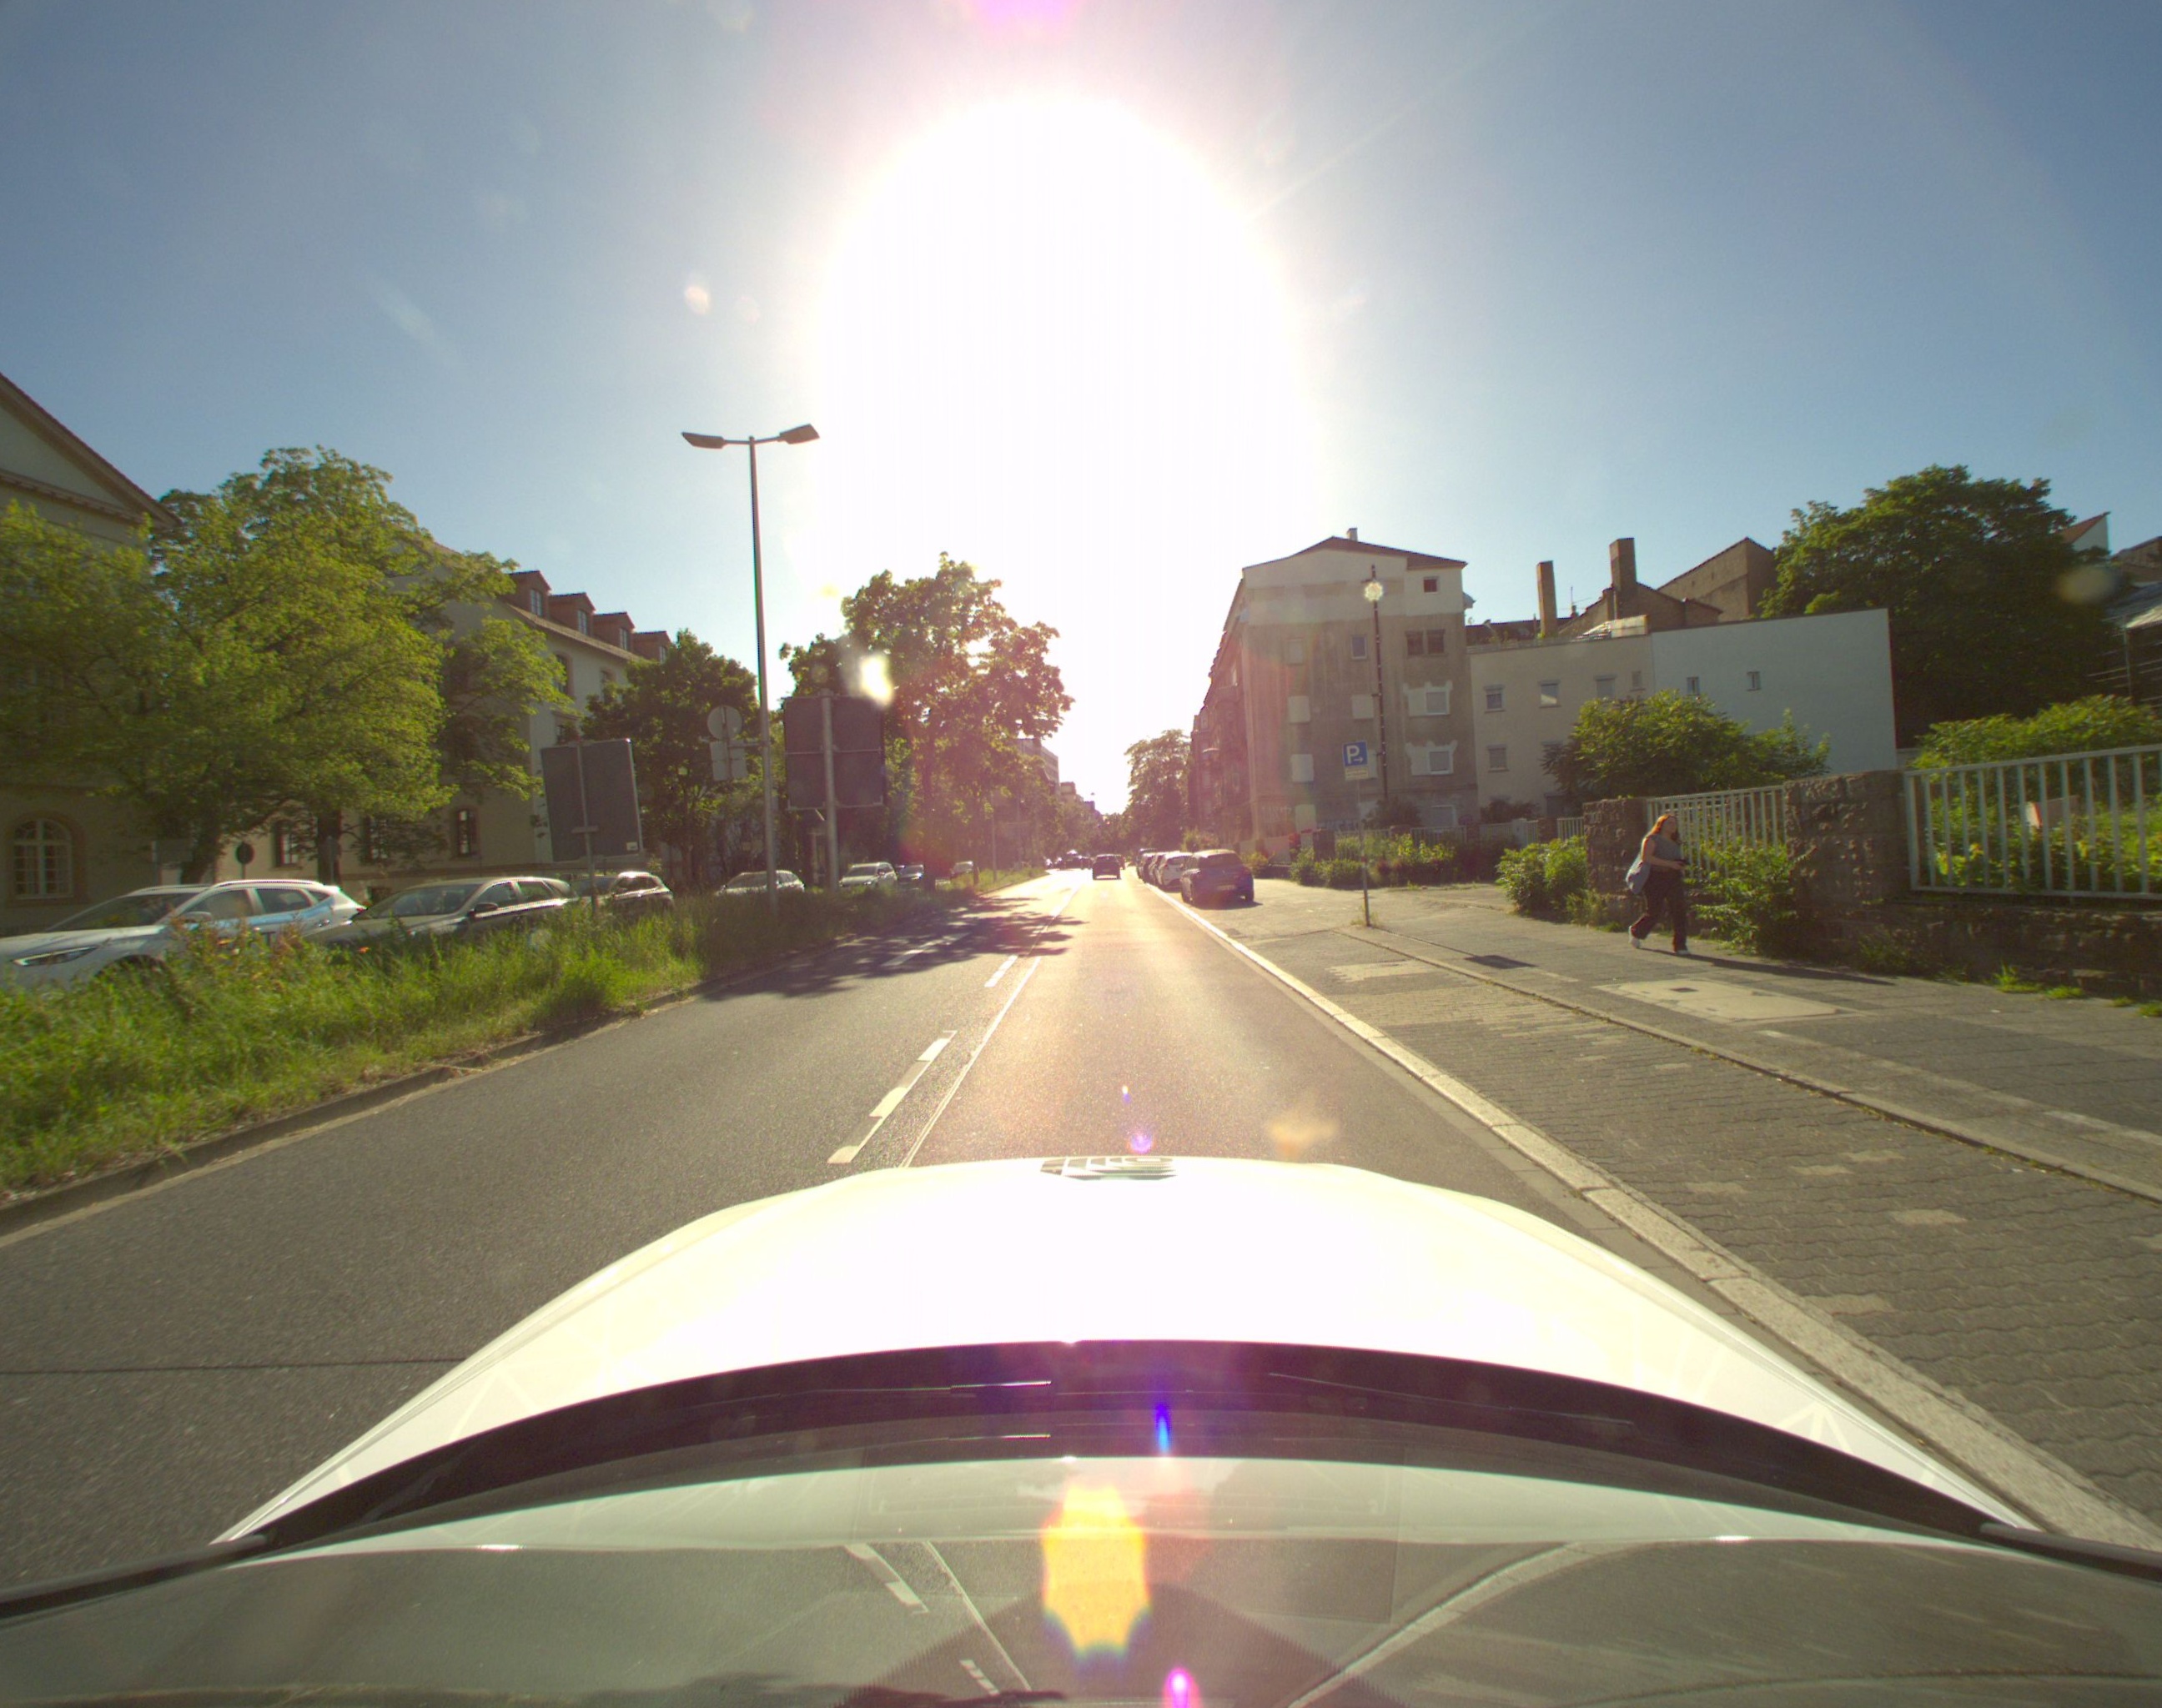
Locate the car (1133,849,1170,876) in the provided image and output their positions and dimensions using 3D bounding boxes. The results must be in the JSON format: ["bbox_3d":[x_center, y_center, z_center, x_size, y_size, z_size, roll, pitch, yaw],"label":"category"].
[{"bbox_3d":[4.354,0.509,51.187,1.928,1.519,4.484,-3,0,1],"label":"car"}]

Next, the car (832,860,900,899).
[{"bbox_3d":[-10.206,1.157,38.985,1.894,1.626,4.537,-4,0,1],"label":"car"}]

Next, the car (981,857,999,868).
[{"bbox_3d":[-14.503,1.408,129.992,1.981,1.662,3.975,-3,0,-18],"label":"car"}]

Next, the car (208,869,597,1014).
[{"bbox_3d":[-9.065,1.112,11.512,1.746,1.618,4.324,-2,-3,2],"label":"car"}]

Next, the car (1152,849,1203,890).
[{"bbox_3d":[3.973,0.603,33.991,1.603,1.446,3.659,-6,0,1],"label":"car"}]

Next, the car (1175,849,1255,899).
[{"bbox_3d":[3.927,0.542,24.411,1.663,1.182,3.900,-6,0,0],"label":"car"}]

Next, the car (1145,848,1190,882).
[{"bbox_3d":[4.142,0.503,39.647,1.663,1.519,3.659,-3,0,-1],"label":"car"}]

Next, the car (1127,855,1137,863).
[{"bbox_3d":[10.932,1.059,173.561,1.911,1.640,4.006,-3,0,5],"label":"car"}]

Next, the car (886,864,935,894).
[{"bbox_3d":[-9.777,1.432,46.927,1.789,1.519,4.087,-4,-1,1],"label":"car"}]

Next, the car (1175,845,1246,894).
[{"bbox_3d":[4.542,0.502,29.035,1.664,1.459,3.983,-6,0,-2],"label":"car"}]

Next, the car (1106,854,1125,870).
[{"bbox_3d":[3.489,0.792,82.828,1.786,1.520,3.850,-2,-1,2],"label":"car"}]

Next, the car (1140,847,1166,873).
[{"bbox_3d":[5.595,0.415,63.582,1.811,1.844,4.369,-3,0,4],"label":"car"}]

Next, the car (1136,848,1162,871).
[{"bbox_3d":[4.808,0.382,57.775,1.660,1.468,4.279,-3,0,4],"label":"car"}]

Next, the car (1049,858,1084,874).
[{"bbox_3d":[-1.646,1.318,91.498,3.838,1.633,1.619,-2,-3,-1],"label":"car"}]

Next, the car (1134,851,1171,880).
[{"bbox_3d":[3.873,0.593,44.383,1.662,1.393,3.775,-3,0,1],"label":"car"}]

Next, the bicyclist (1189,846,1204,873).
[{"bbox_3d":[6.956,0.331,49.067,0.738,1.580,1.101,-2,1,4],"label":"bicyclist"}]

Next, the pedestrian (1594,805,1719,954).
[{"bbox_3d":[6.556,0.277,9.329,0.740,1.583,0.897,-3,0,1],"label":"pedestrian"}]

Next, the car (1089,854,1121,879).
[{"bbox_3d":[1.511,0.798,52.201,1.889,1.519,3.998,-1,0,-1],"label":"car"}]

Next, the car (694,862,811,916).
[{"bbox_3d":[-11.048,1.128,27.796,1.831,1.519,4.670,-3,0,3],"label":"car"}]

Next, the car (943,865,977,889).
[{"bbox_3d":[-8.431,1.586,57.034,1.632,1.519,4.259,-3,0,1],"label":"car"}]

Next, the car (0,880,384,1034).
[{"bbox_3d":[-12.160,1.216,10.961,1.789,1.519,4.259,-3,0,1],"label":"car"}]

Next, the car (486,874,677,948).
[{"bbox_3d":[-11.615,1.270,19.346,1.789,1.519,4.259,-2,-2,2],"label":"car"}]
